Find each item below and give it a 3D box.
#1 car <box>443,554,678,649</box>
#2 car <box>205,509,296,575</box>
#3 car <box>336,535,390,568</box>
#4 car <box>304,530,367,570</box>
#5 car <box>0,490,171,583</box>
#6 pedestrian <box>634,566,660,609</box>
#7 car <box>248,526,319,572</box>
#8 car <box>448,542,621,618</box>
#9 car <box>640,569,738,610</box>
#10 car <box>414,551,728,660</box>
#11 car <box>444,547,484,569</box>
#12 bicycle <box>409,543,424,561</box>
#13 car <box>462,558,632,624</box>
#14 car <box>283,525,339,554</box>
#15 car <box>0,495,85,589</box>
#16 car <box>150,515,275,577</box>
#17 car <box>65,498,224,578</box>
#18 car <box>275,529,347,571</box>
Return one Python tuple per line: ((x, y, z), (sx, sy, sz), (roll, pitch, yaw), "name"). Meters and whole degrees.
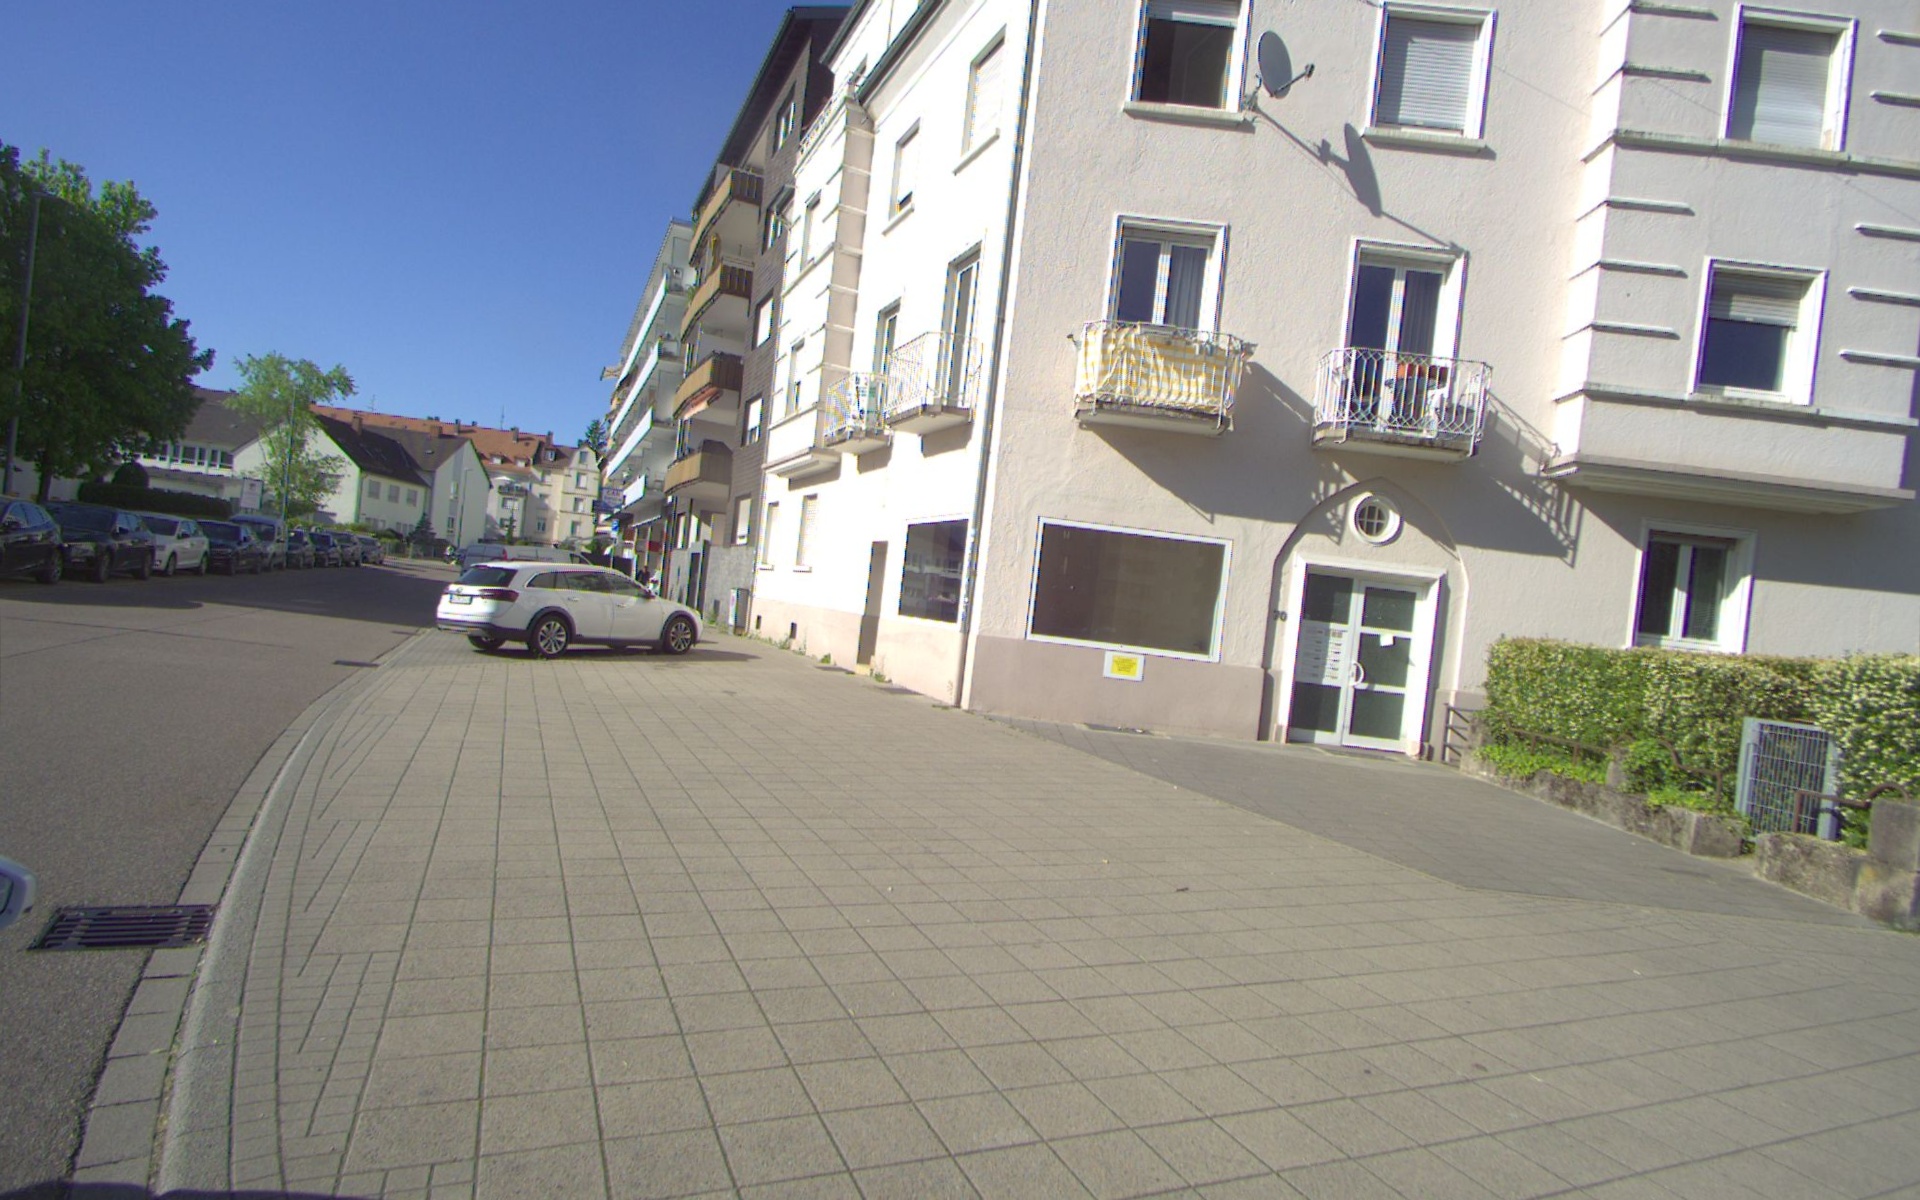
((-8.071, 0.087, 20.702), (1.793, 1.515, 4.164), (5, -2, 32), "car")
((-23.924, -1.939, 34.068), (1.672, 1.861, 4.313), (7, 0, -26), "car")
((-34.186, -2.788, 57.714), (1.975, 1.553, 4.888), (7, 0, -25), "car")
((-29.978, -2.368, 48.411), (1.702, 1.605, 4.397), (7, 0, -23), "car")
((-17.908, -1.235, 20.442), (1.891, 1.496, 4.354), (7, -1, -25), "car")
((-12.417, -0.490, 39.864), (0.823, 1.613, 0.885), (5, 0, -19), "pedestrian")
((-25.779, -1.915, 38.452), (1.584, 1.458, 3.974), (8, -1, -26), "car")
((-12.608, -0.544, 30.129), (2.014, 1.922, 4.524), (4, -1, 25), "car")
((-13.405, -0.517, 49.751), (4.348, 1.531, 1.968), (6, -1, -25), "car")
((-6.512, 0.130, 17.458), (1.940, 1.483, 4.860), (7, 2, 31), "car")
((-42.271, -3.539, 85.868), (1.774, 1.491, 4.322), (8, 0, -10), "car")
((-45.708, -4.040, 84.641), (0.450, 1.264, 1.925), (6, -2, -12), "bicycle")
((-11.031, -0.209, 27.114), (1.591, 1.508, 3.983), (4, 0, 34), "car")
((-46.146, -4.279, 71.582), (1.772, 1.573, 3.191), (6, -3, -1), "car")
((-15.900, -1.028, 16.023), (1.773, 1.427, 4.197), (8, -1, -25), "car")
((-21.750, -1.526, 29.476), (1.715, 1.457, 4.587), (7, -1, -22), "car")
((-19.951, -1.449, 24.860), (1.891, 1.548, 4.597), (7, -1, -25), "car")
((-27.918, -2.138, 43.402), (1.709, 1.483, 4.415), (7, 0, -23), "car")
